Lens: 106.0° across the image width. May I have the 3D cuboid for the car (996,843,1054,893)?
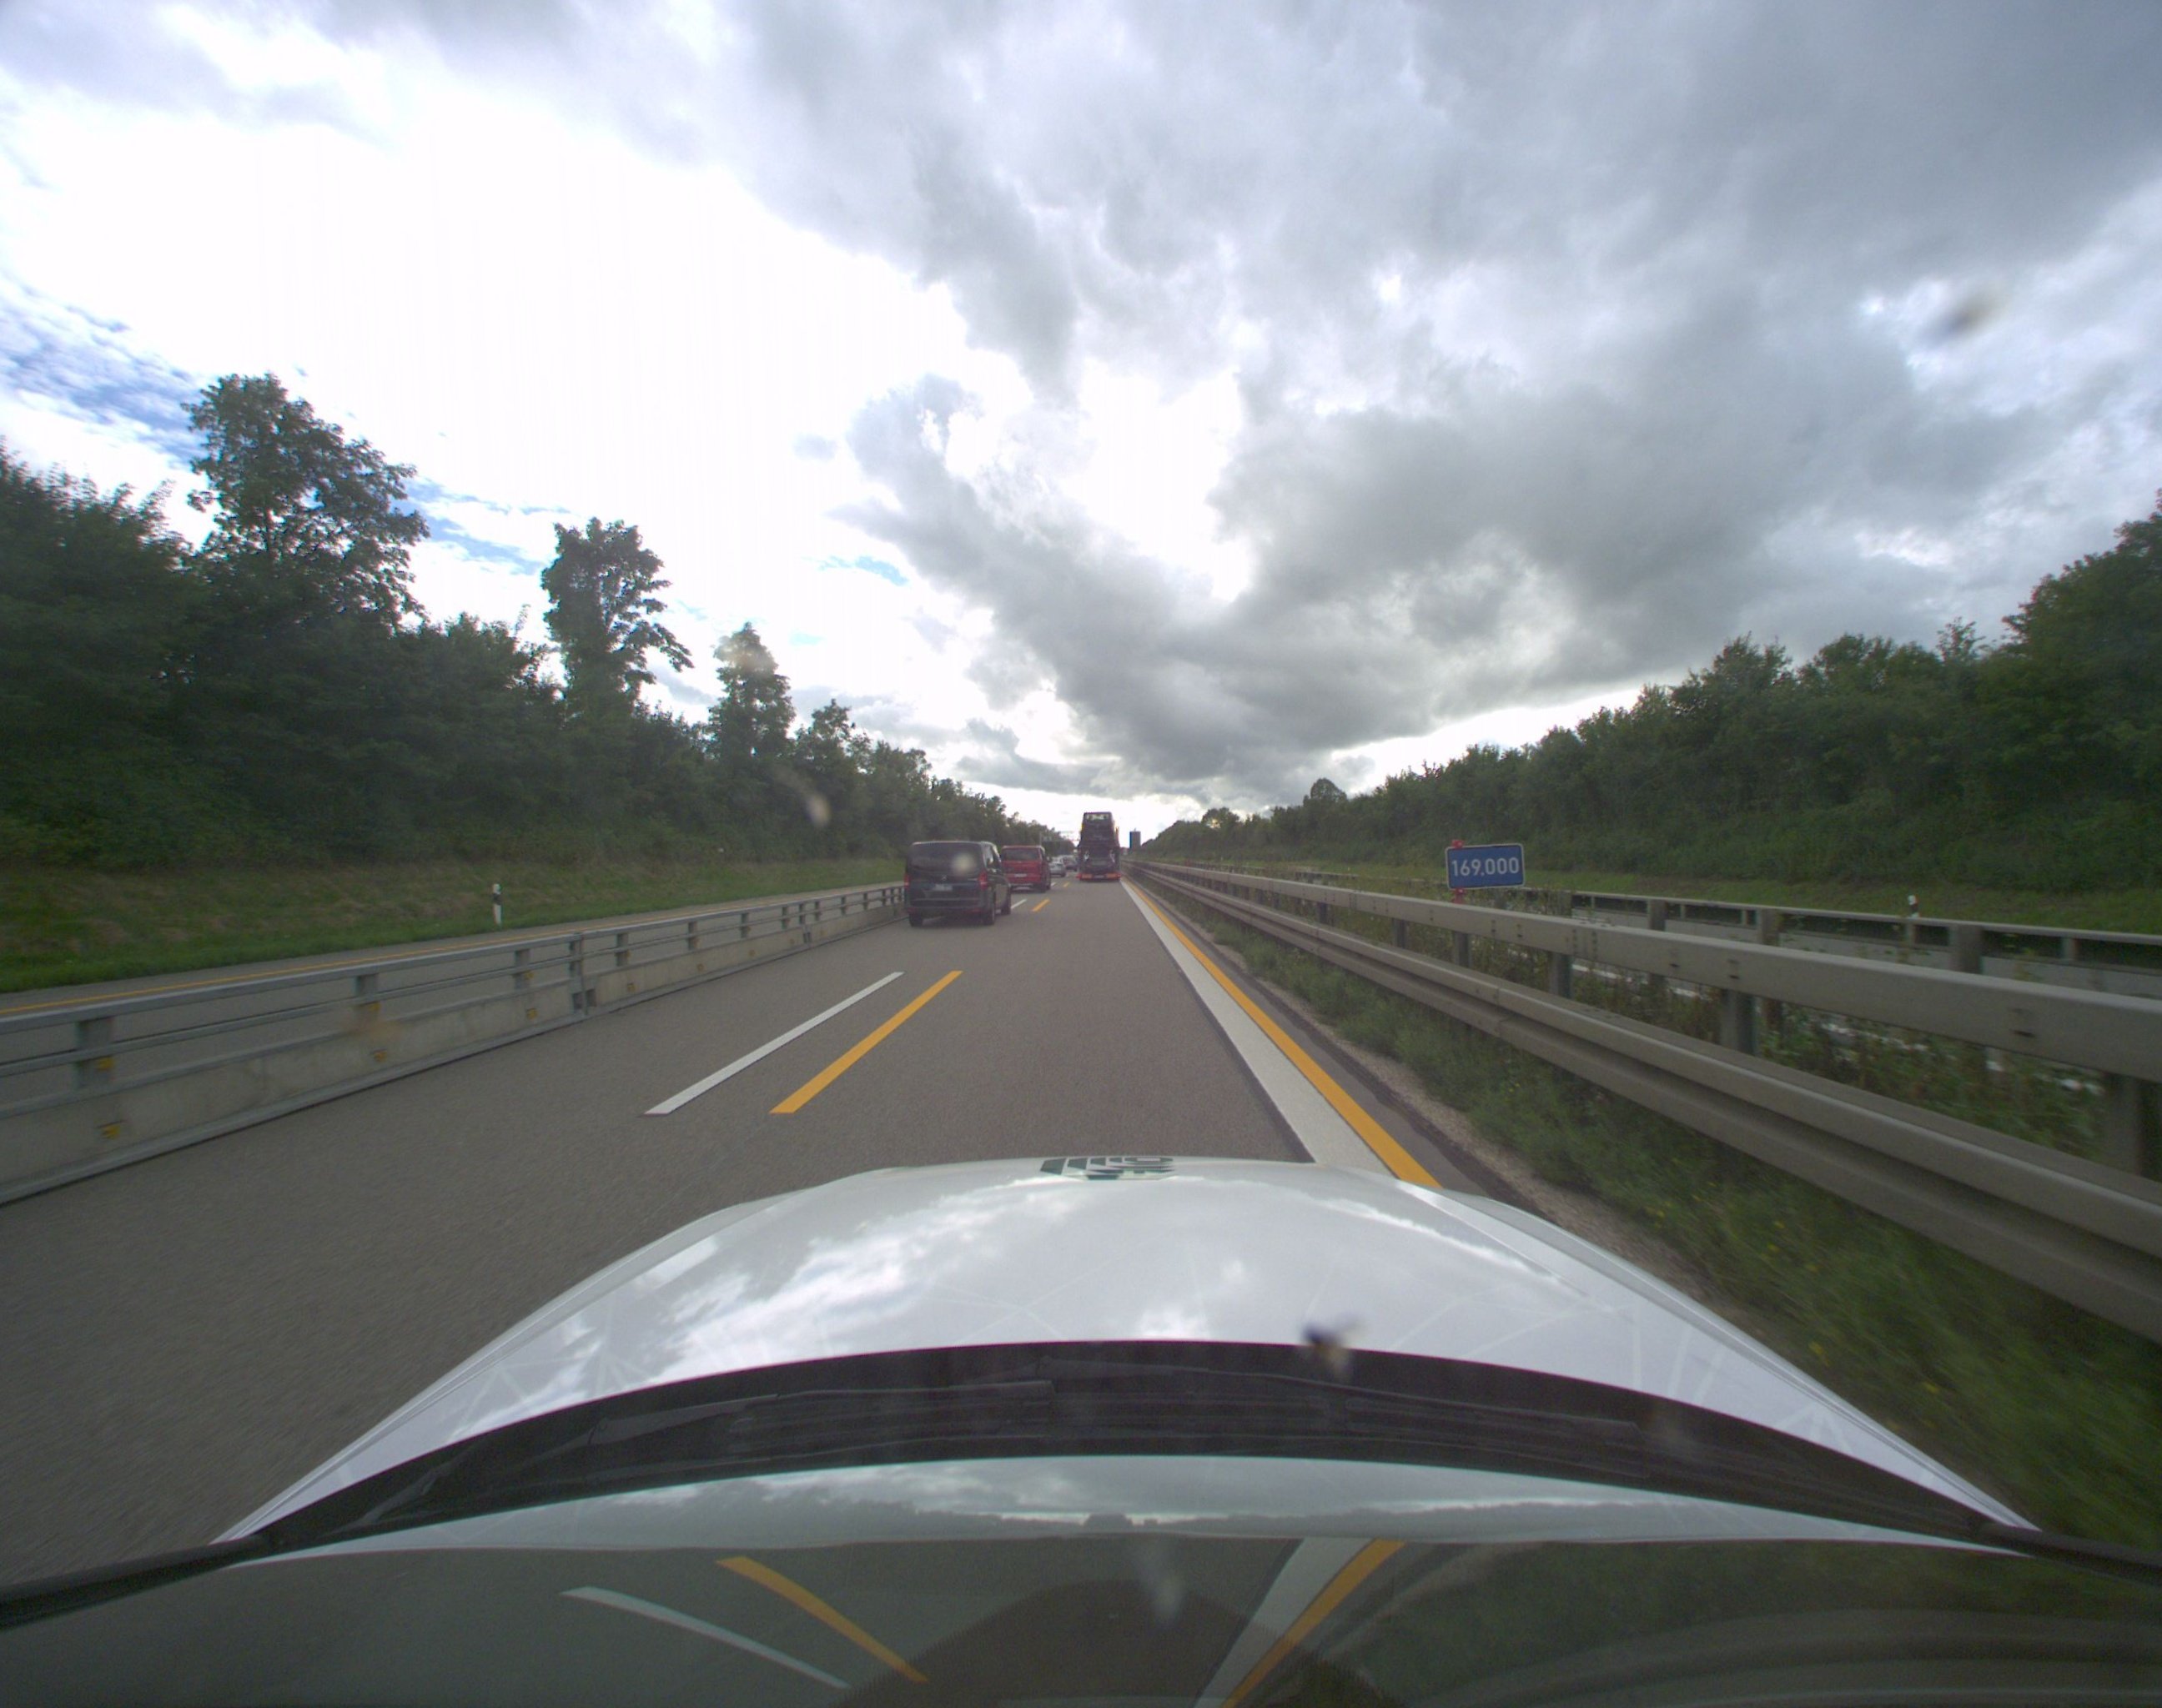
[{"bbox_3d":[-2.351,0.582,35.228,2.024,2.014,4.579,-1,0,1],"label":"car"}]

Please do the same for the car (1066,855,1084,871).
[{"bbox_3d":[-0.698,1.065,94.158,2.024,1.757,4.578,-1,0,0],"label":"car"}]

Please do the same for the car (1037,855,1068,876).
[{"bbox_3d":[-2.082,0.841,59.940,2.024,1.431,4.578,-1,0,1],"label":"car"}]

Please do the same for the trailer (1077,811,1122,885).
[{"bbox_3d":[1.245,-0.326,50.979,2.506,4.105,11.118,0,0,2],"label":"trailer"}]

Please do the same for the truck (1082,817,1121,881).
[{"bbox_3d":[1.411,-0.293,55.712,2.506,4.105,5.687,0,0,2],"label":"truck"}]

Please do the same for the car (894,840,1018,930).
[{"bbox_3d":[-2.827,0.657,19.831,1.986,1.843,5.611,-1,0,1],"label":"car"}]

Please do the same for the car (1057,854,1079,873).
[{"bbox_3d":[-1.218,0.909,79.890,2.024,1.757,4.578,-1,0,1],"label":"car"}]

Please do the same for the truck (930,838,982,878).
[{"bbox_3d":[-8.970,0.294,59.156,2.480,2.718,6.669,0,0,2],"label":"truck"}]

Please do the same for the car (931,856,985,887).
[{"bbox_3d":[-6.446,0.889,43.203,1.986,1.507,4.834,0,0,2],"label":"car"}]
